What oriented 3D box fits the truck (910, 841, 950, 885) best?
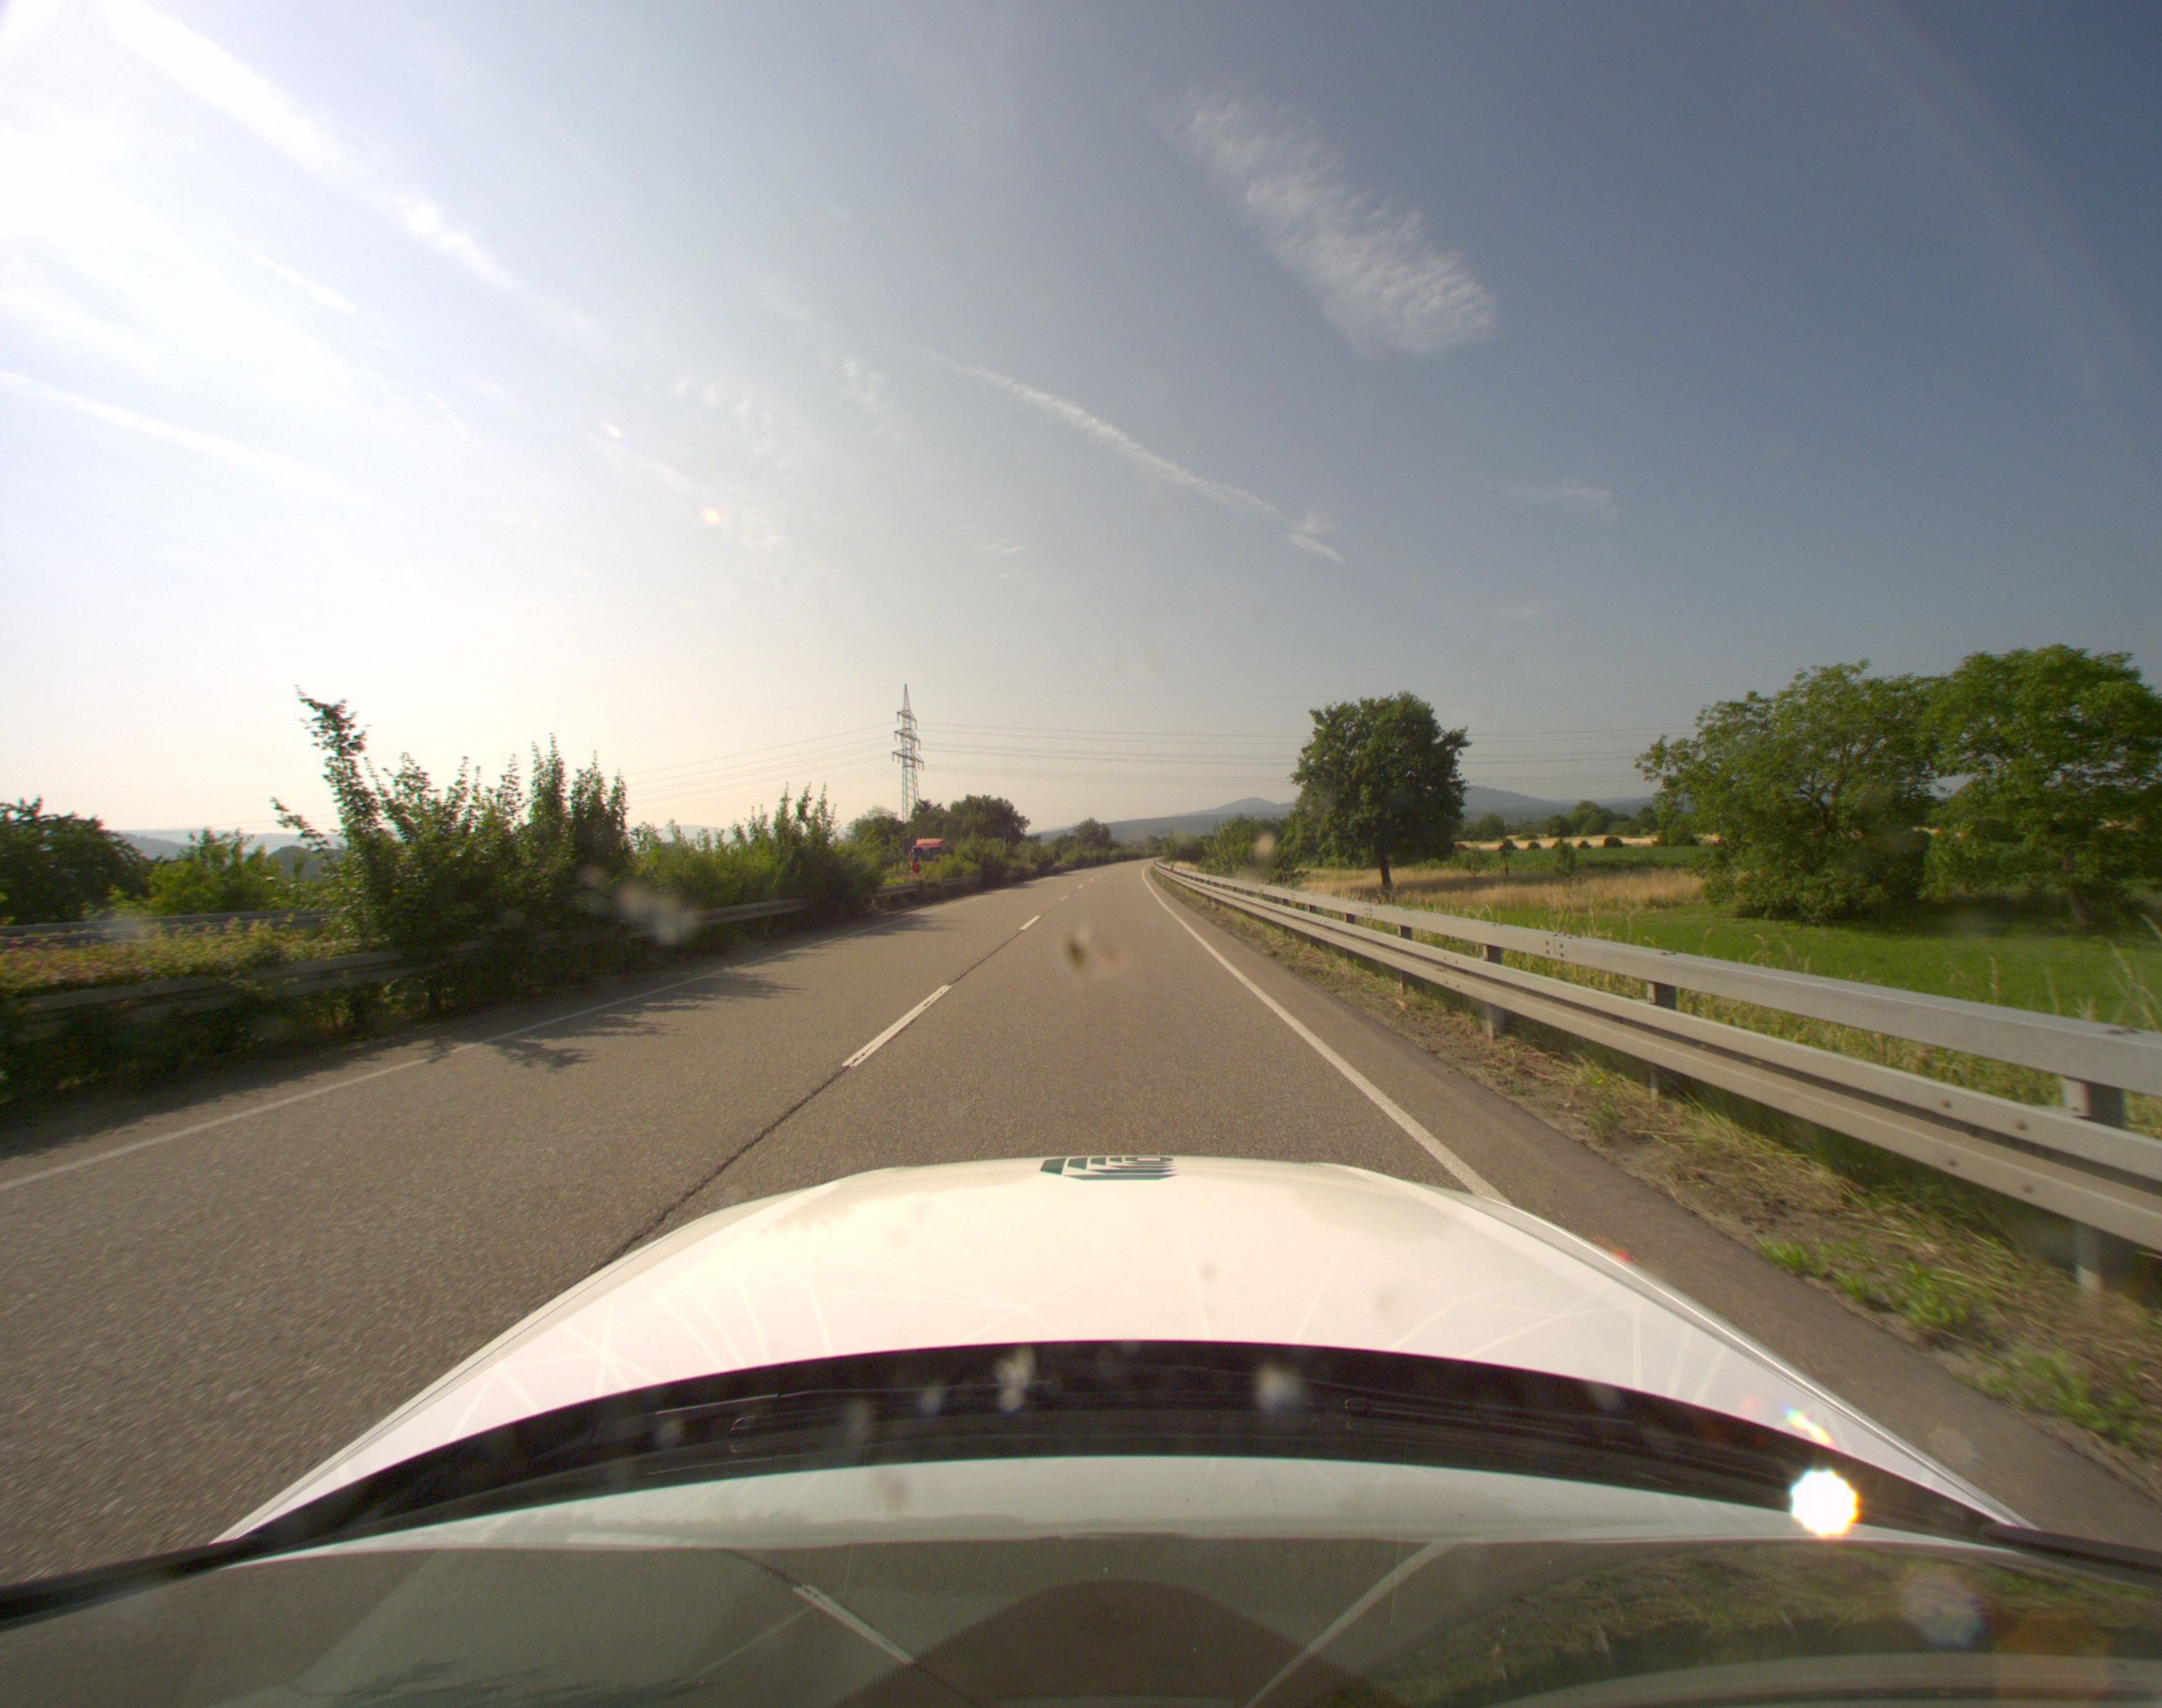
[{"bbox_3d":[-12.315,0.708,66.868,1.986,3.376,5.631,-1,-1,2],"label":"truck"}]
